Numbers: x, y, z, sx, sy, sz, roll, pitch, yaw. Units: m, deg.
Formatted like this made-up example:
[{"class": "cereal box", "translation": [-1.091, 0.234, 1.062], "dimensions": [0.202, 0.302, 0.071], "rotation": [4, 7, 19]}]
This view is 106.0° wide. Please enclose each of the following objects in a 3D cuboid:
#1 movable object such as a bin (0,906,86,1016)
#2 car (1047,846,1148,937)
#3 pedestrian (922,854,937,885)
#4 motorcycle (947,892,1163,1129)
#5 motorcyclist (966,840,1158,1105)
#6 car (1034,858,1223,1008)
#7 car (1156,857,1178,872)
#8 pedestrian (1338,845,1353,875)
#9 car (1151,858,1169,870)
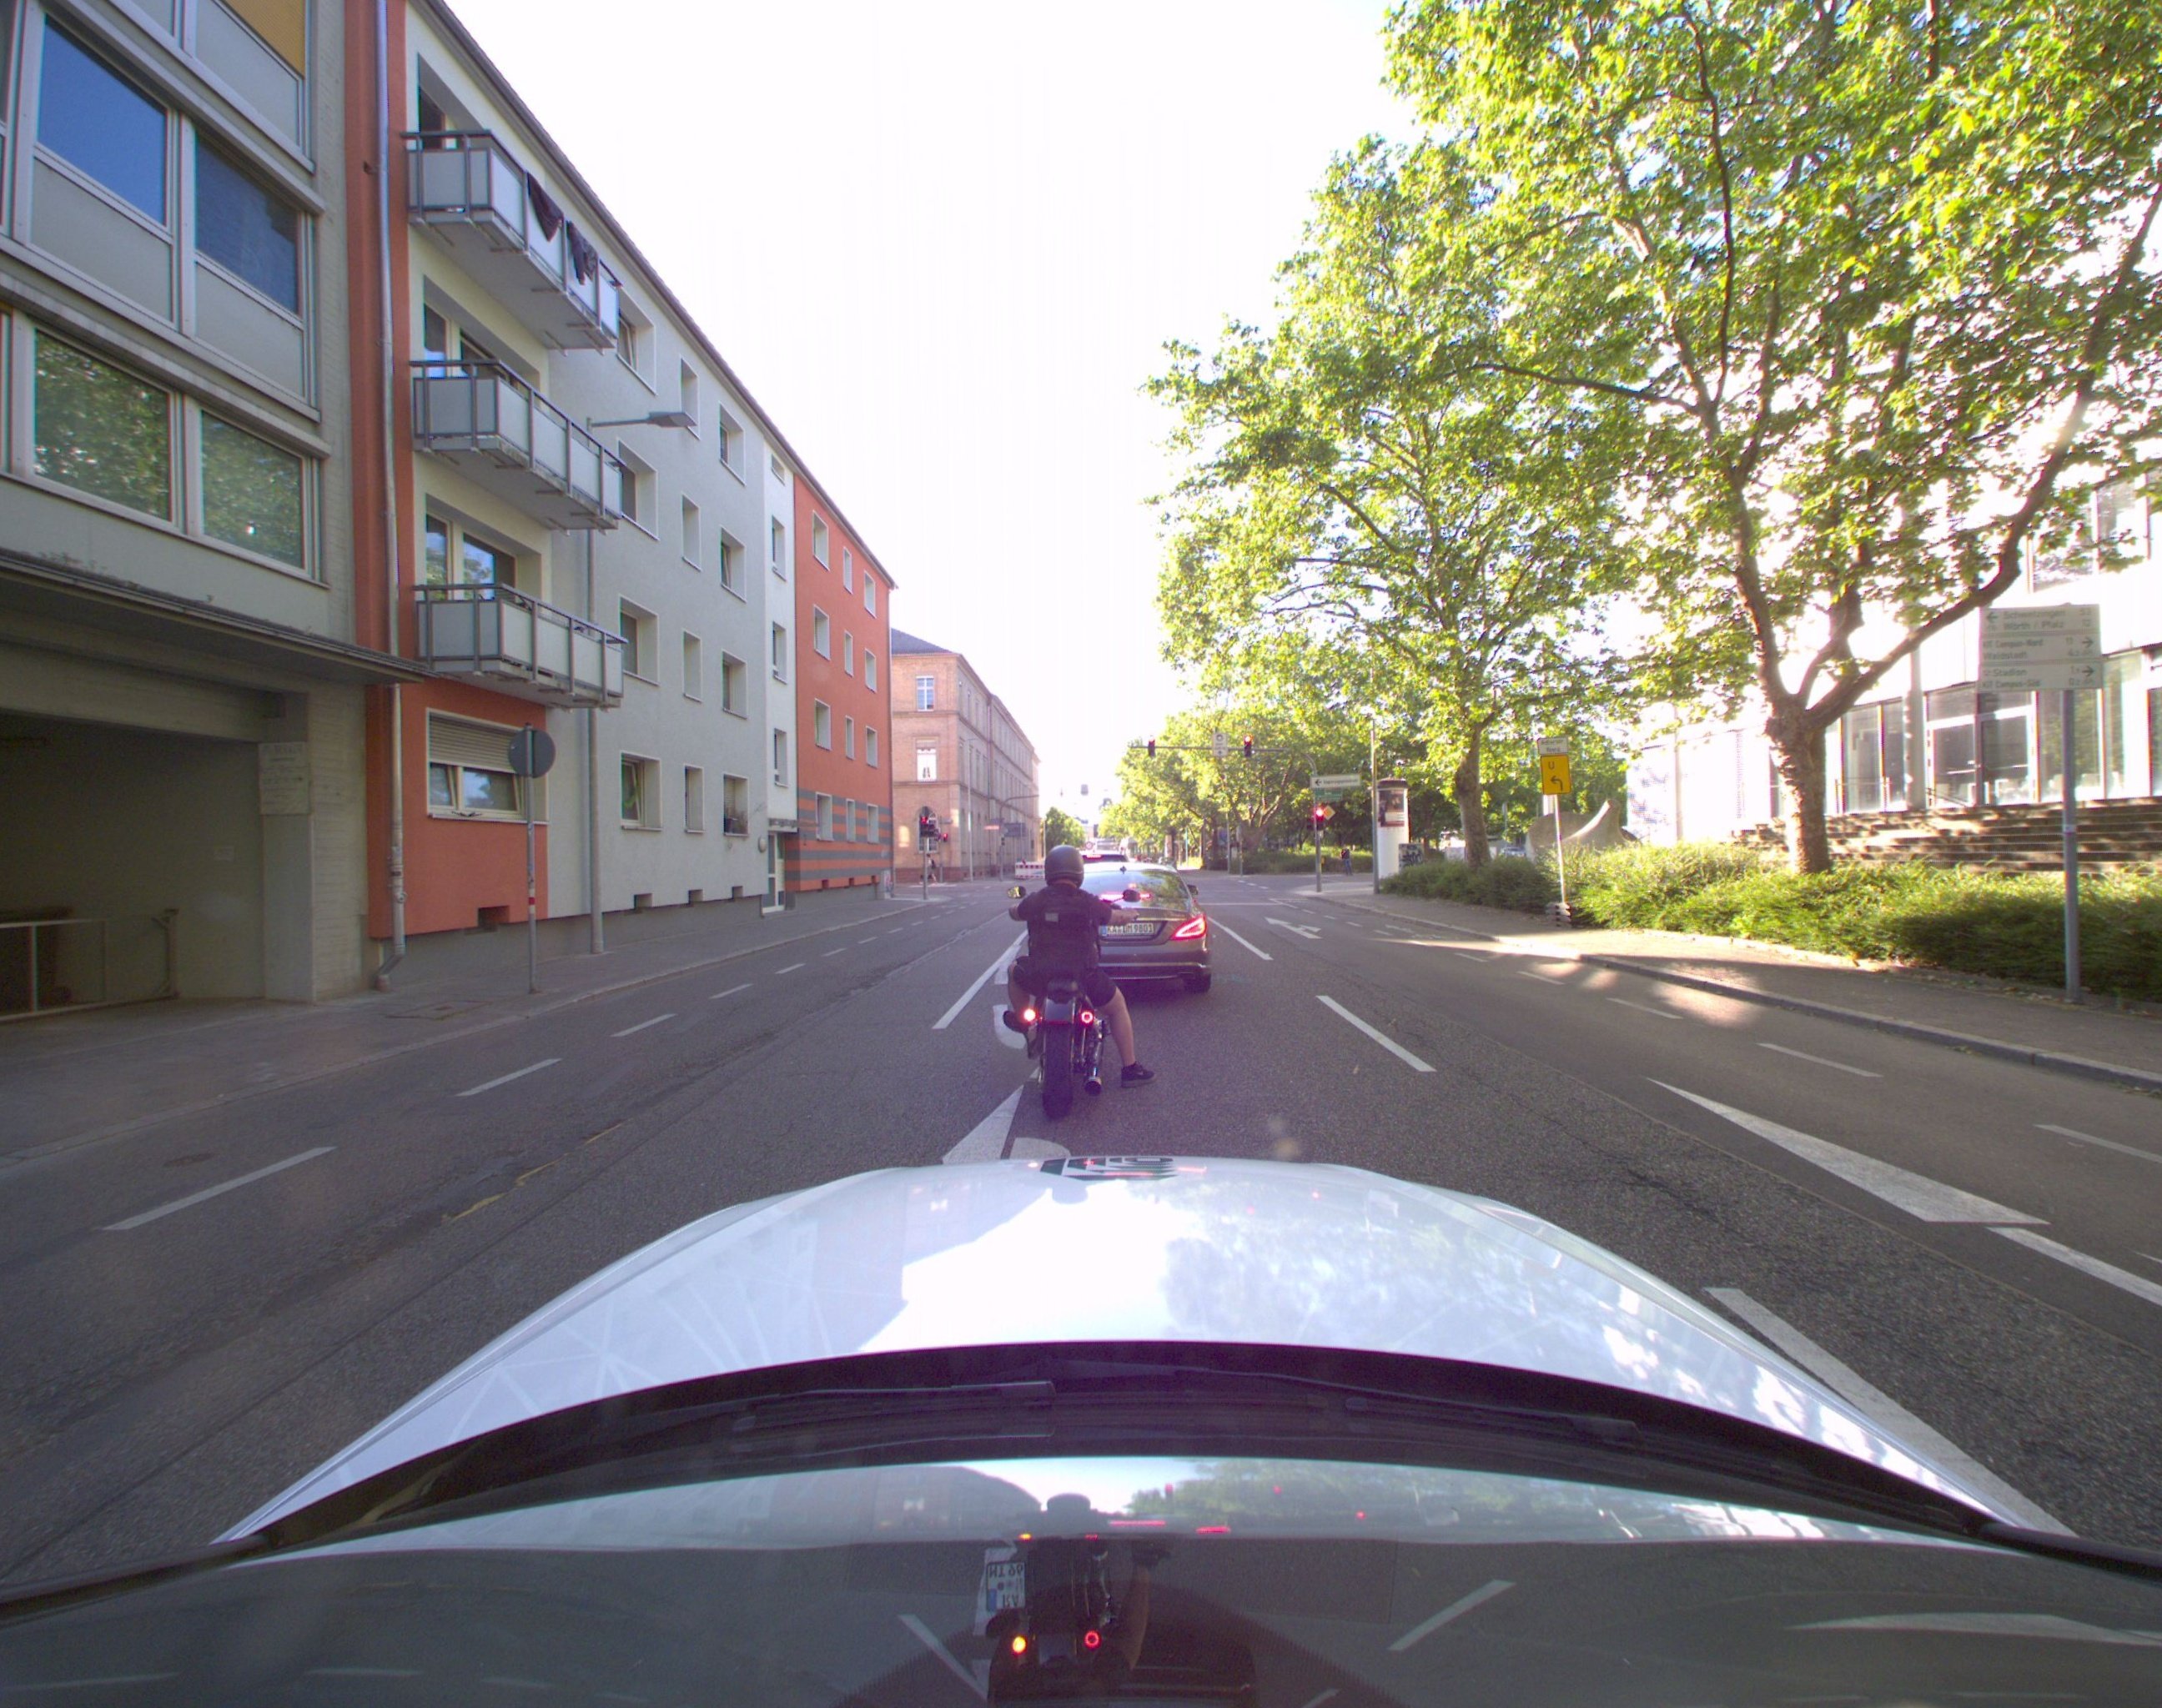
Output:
[{"class": "movable object such as a bin", "translation": [-11.288, 1.119, 8.653], "dimensions": [0.533, 1.079, 0.723], "rotation": [0, -1, 3]}, {"class": "car", "translation": [0.377, 0.712, 17.074], "dimensions": [1.856, 1.678, 4.001], "rotation": [0, -1, 2]}, {"class": "pedestrian", "translation": [-8.861, 0.893, 47.581], "dimensions": [0.735, 1.820, 0.644], "rotation": [0, -1, 1]}, {"class": "motorcycle", "translation": [-0.046, 0.914, 5.628], "dimensions": [1.111, 1.207, 2.217], "rotation": [-1, -1, 8]}, {"class": "motorcyclist", "translation": [-0.074, 0.706, 5.410], "dimensions": [1.093, 1.566, 1.074], "rotation": [-1, -1, 8]}, {"class": "car", "translation": [0.516, 0.781, 9.785], "dimensions": [1.815, 1.437, 3.807], "rotation": [0, -1, 2]}, {"class": "car", "translation": [7.653, 0.930, 72.718], "dimensions": [1.625, 1.259, 3.717], "rotation": [0, 0, 2]}, {"class": "pedestrian", "translation": [16.079, 0.349, 49.471], "dimensions": [0.728, 1.778, 0.734], "rotation": [-1, -1, 32]}, {"class": "car", "translation": [8.442, 1.056, 87.198], "dimensions": [1.625, 1.259, 3.717], "rotation": [0, 0, 2]}]
